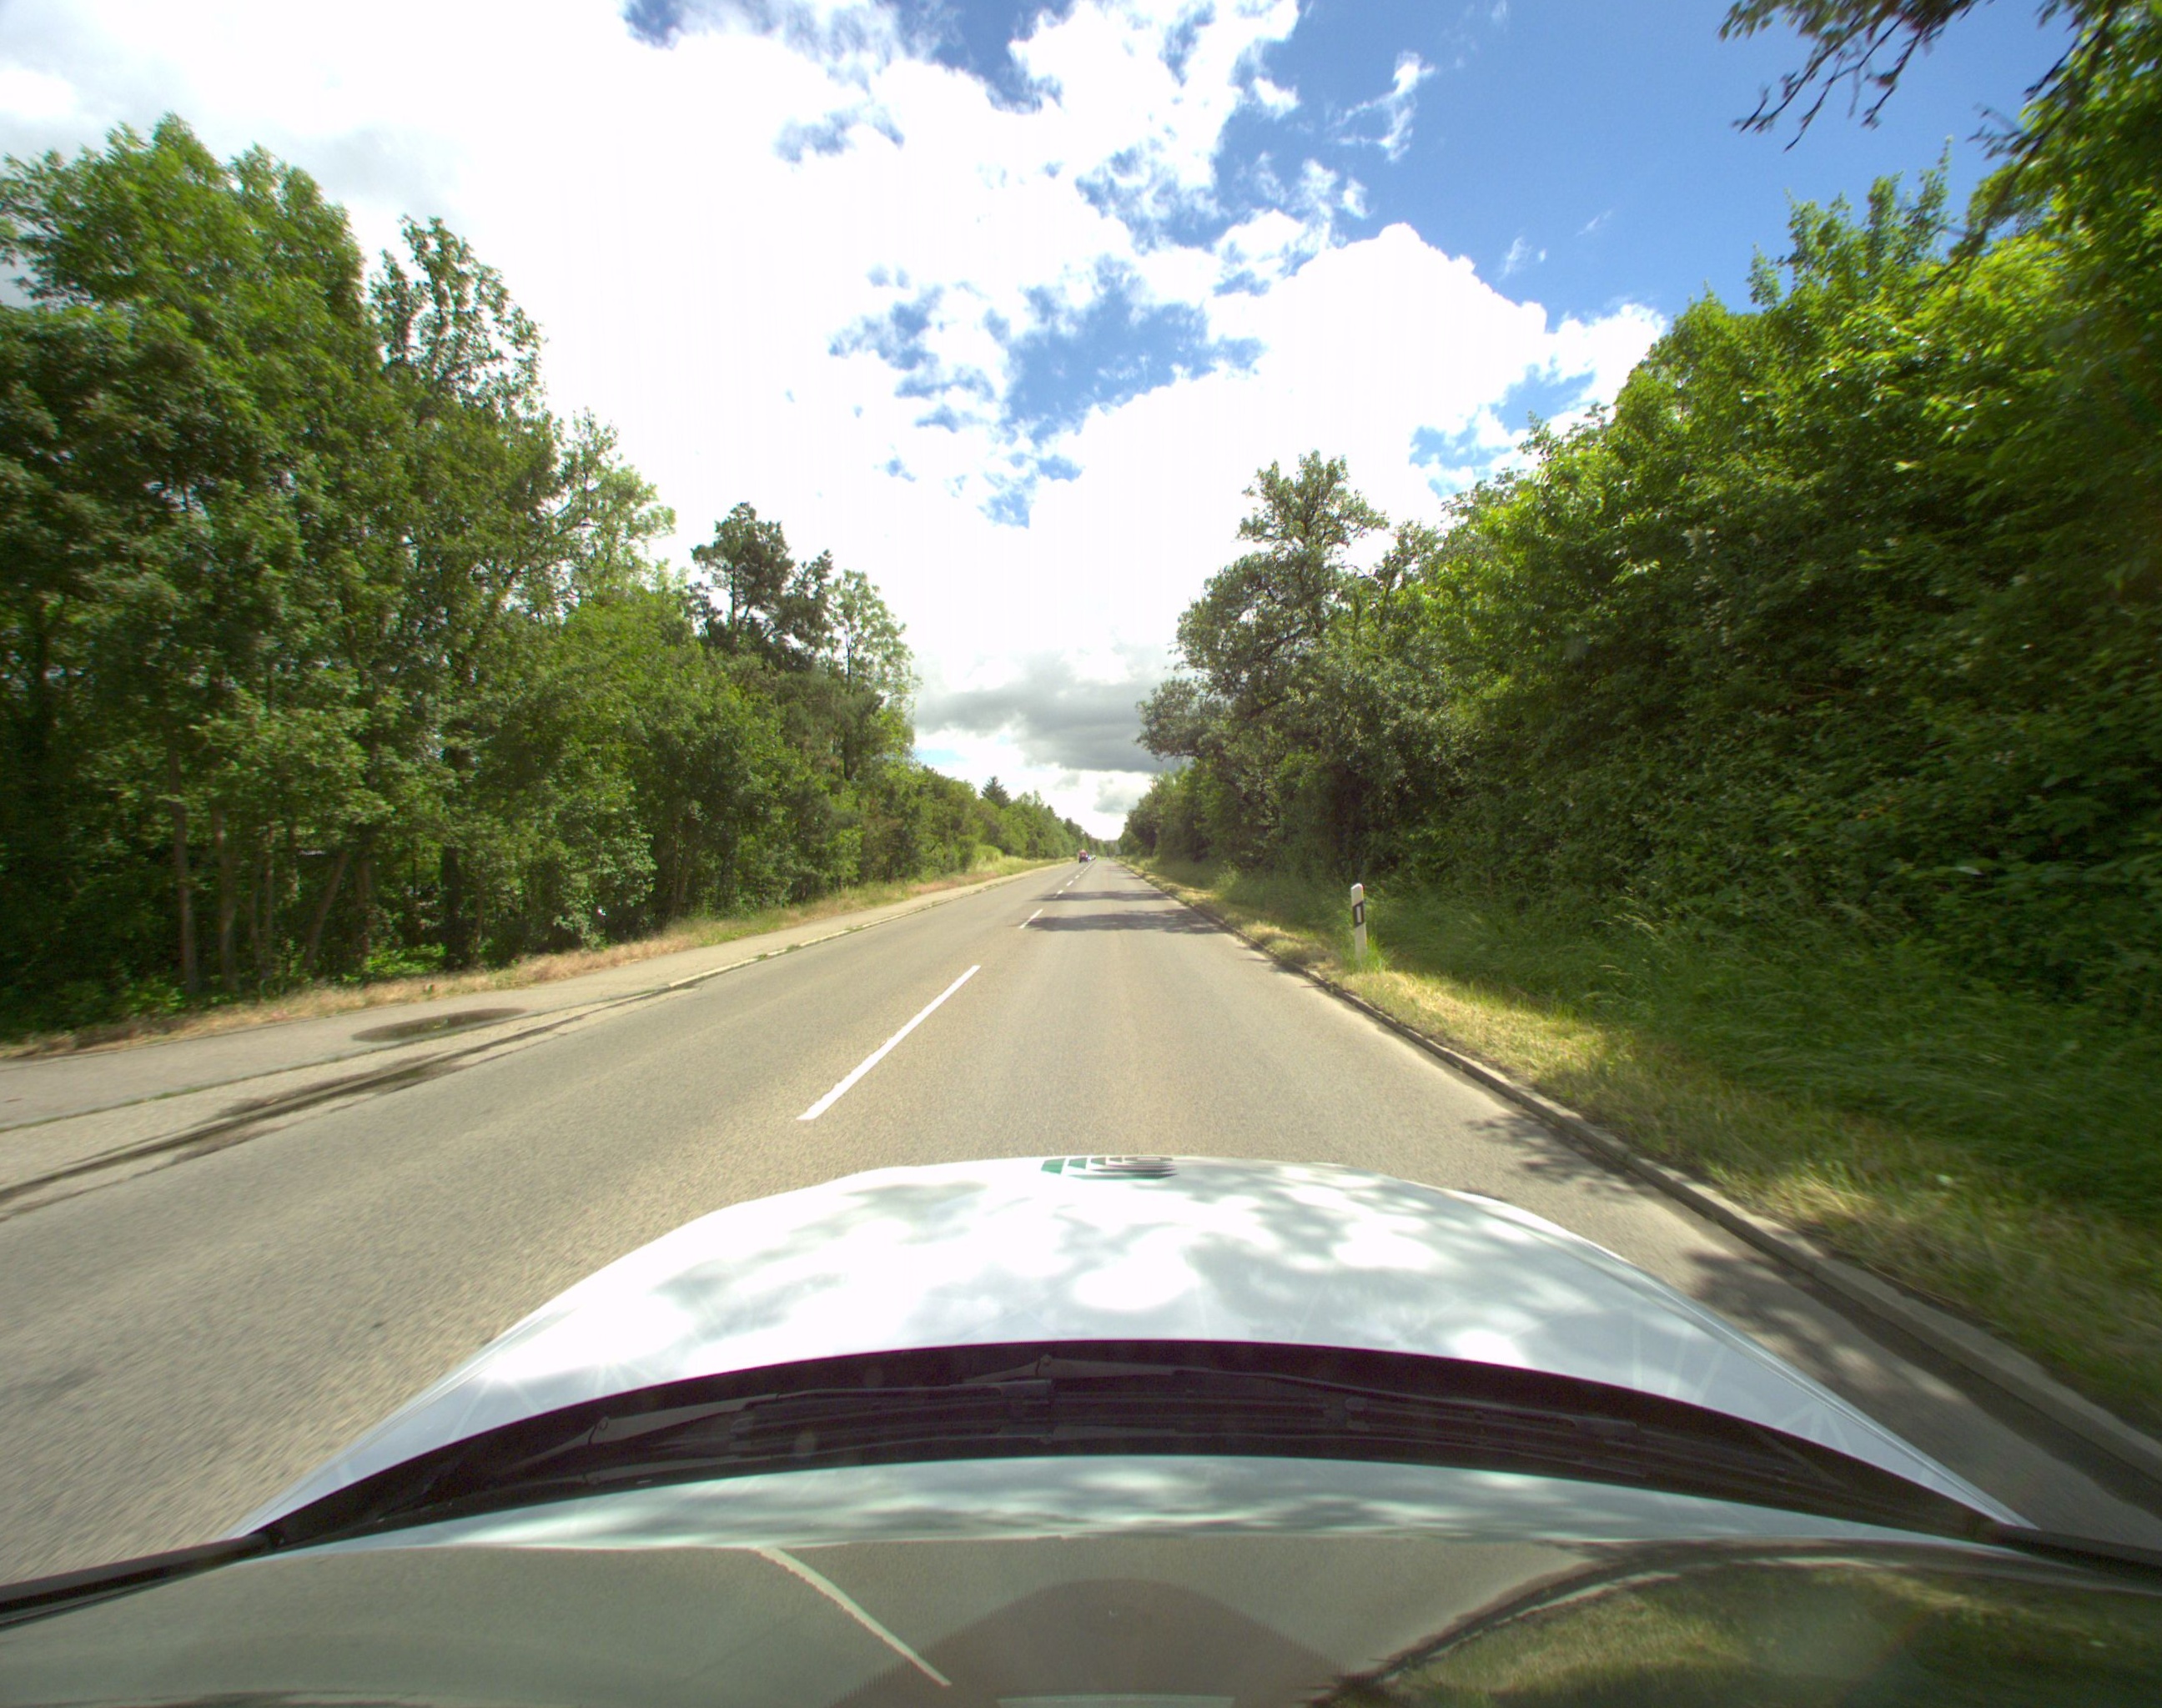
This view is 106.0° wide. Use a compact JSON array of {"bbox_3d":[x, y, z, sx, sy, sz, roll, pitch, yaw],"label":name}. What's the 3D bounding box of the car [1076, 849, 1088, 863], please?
[{"bbox_3d":[0.208,0.397,164.411,1.962,2.550,4.726,-5,-1,1],"label":"car"}]
